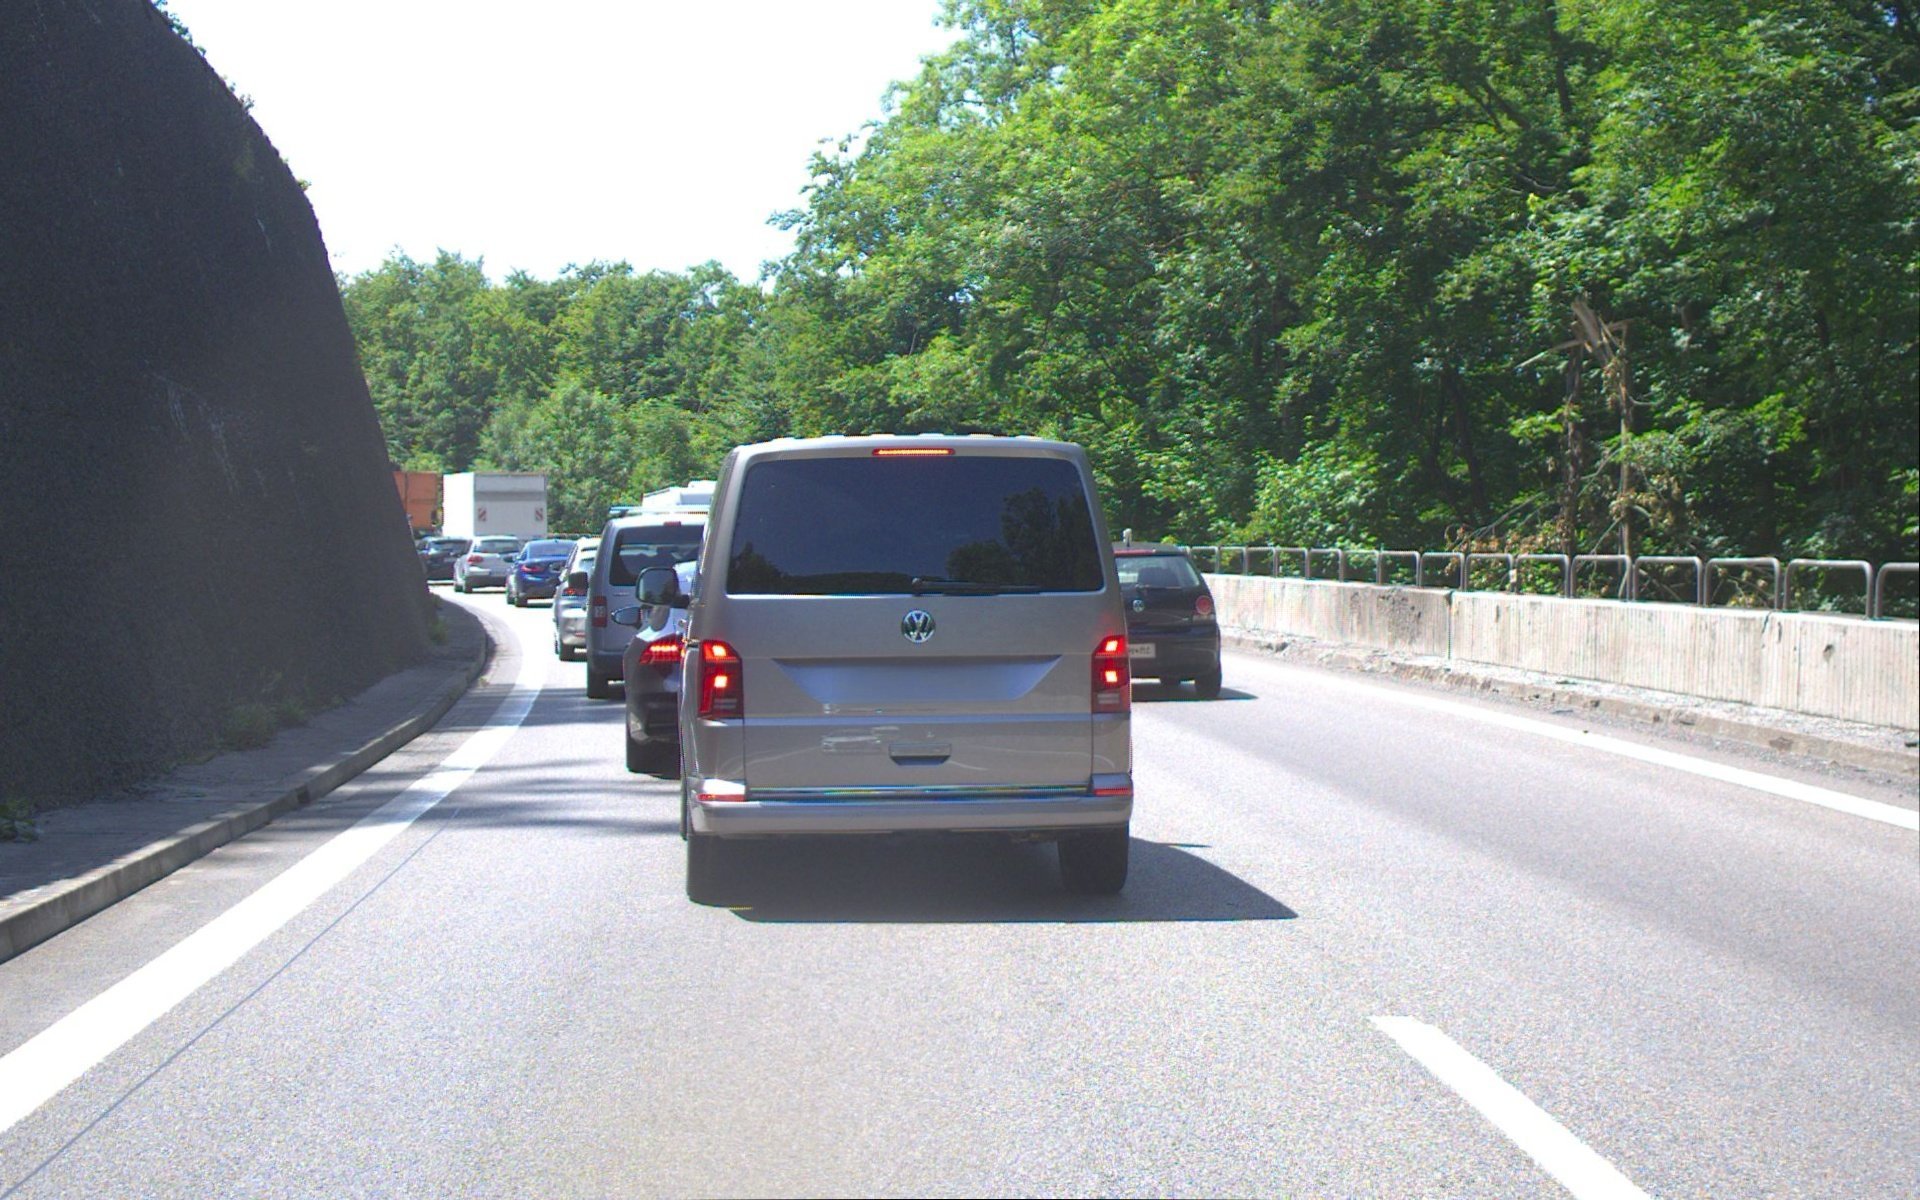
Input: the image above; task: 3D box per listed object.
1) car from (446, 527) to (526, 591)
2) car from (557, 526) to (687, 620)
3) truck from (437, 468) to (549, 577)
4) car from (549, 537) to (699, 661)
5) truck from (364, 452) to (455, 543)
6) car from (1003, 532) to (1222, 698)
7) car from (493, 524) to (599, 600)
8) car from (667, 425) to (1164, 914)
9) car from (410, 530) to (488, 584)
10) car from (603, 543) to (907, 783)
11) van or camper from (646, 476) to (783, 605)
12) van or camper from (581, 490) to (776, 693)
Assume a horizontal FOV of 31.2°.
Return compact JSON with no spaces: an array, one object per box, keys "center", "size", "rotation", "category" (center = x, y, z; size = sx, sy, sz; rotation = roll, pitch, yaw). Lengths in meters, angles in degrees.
[{"center":[-12.332,-1.073,89.316],"size":[1.993,1.612,4.001],"rotation":[0,1,-8],"category":"car"},{"center":[-5.943,-0.497,60.095],"size":[1.894,1.579,3.772],"rotation":[0,1,-11],"category":"car"},{"center":[-16.455,-2.711,120.826],"size":[2.924,3.674,7.727],"rotation":[0,1,-15],"category":"truck"},{"center":[-4.422,-0.048,45.709],"size":[1.771,1.467,4.001],"rotation":[3,1,-4],"category":"car"},{"center":[-23.123,-4.294,144.062],"size":[3.162,3.456,8.224],"rotation":[5,1,-11],"category":"truck"},{"center":[1.399,0.103,33.039],"size":[1.685,1.453,4.001],"rotation":[1,1,-3],"category":"car"},{"center":[-9.053,-0.839,74.952],"size":[1.857,1.614,4.001],"rotation":[0,1,-13],"category":"car"},{"center":[-0.371,0.236,15.984],"size":[1.940,1.924,4.695],"rotation":[1,1,-5],"category":"car"},{"center":[-15.046,-1.277,101.179],"size":[1.750,1.565,3.772],"rotation":[0,1,-16],"category":"car"},{"center":[-1.371,0.372,24.151],"size":[1.904,1.484,4.379],"rotation":[2,1,-2],"category":"car"},{"center":[-6.045,-1.474,83.845],"size":[2.603,2.845,6.337],"rotation":[4,1,-9],"category":"van or camper"},{"center":[-2.907,-0.125,35.085],"size":[1.853,1.935,4.166],"rotation":[0,1,-6],"category":"van or camper"}]
